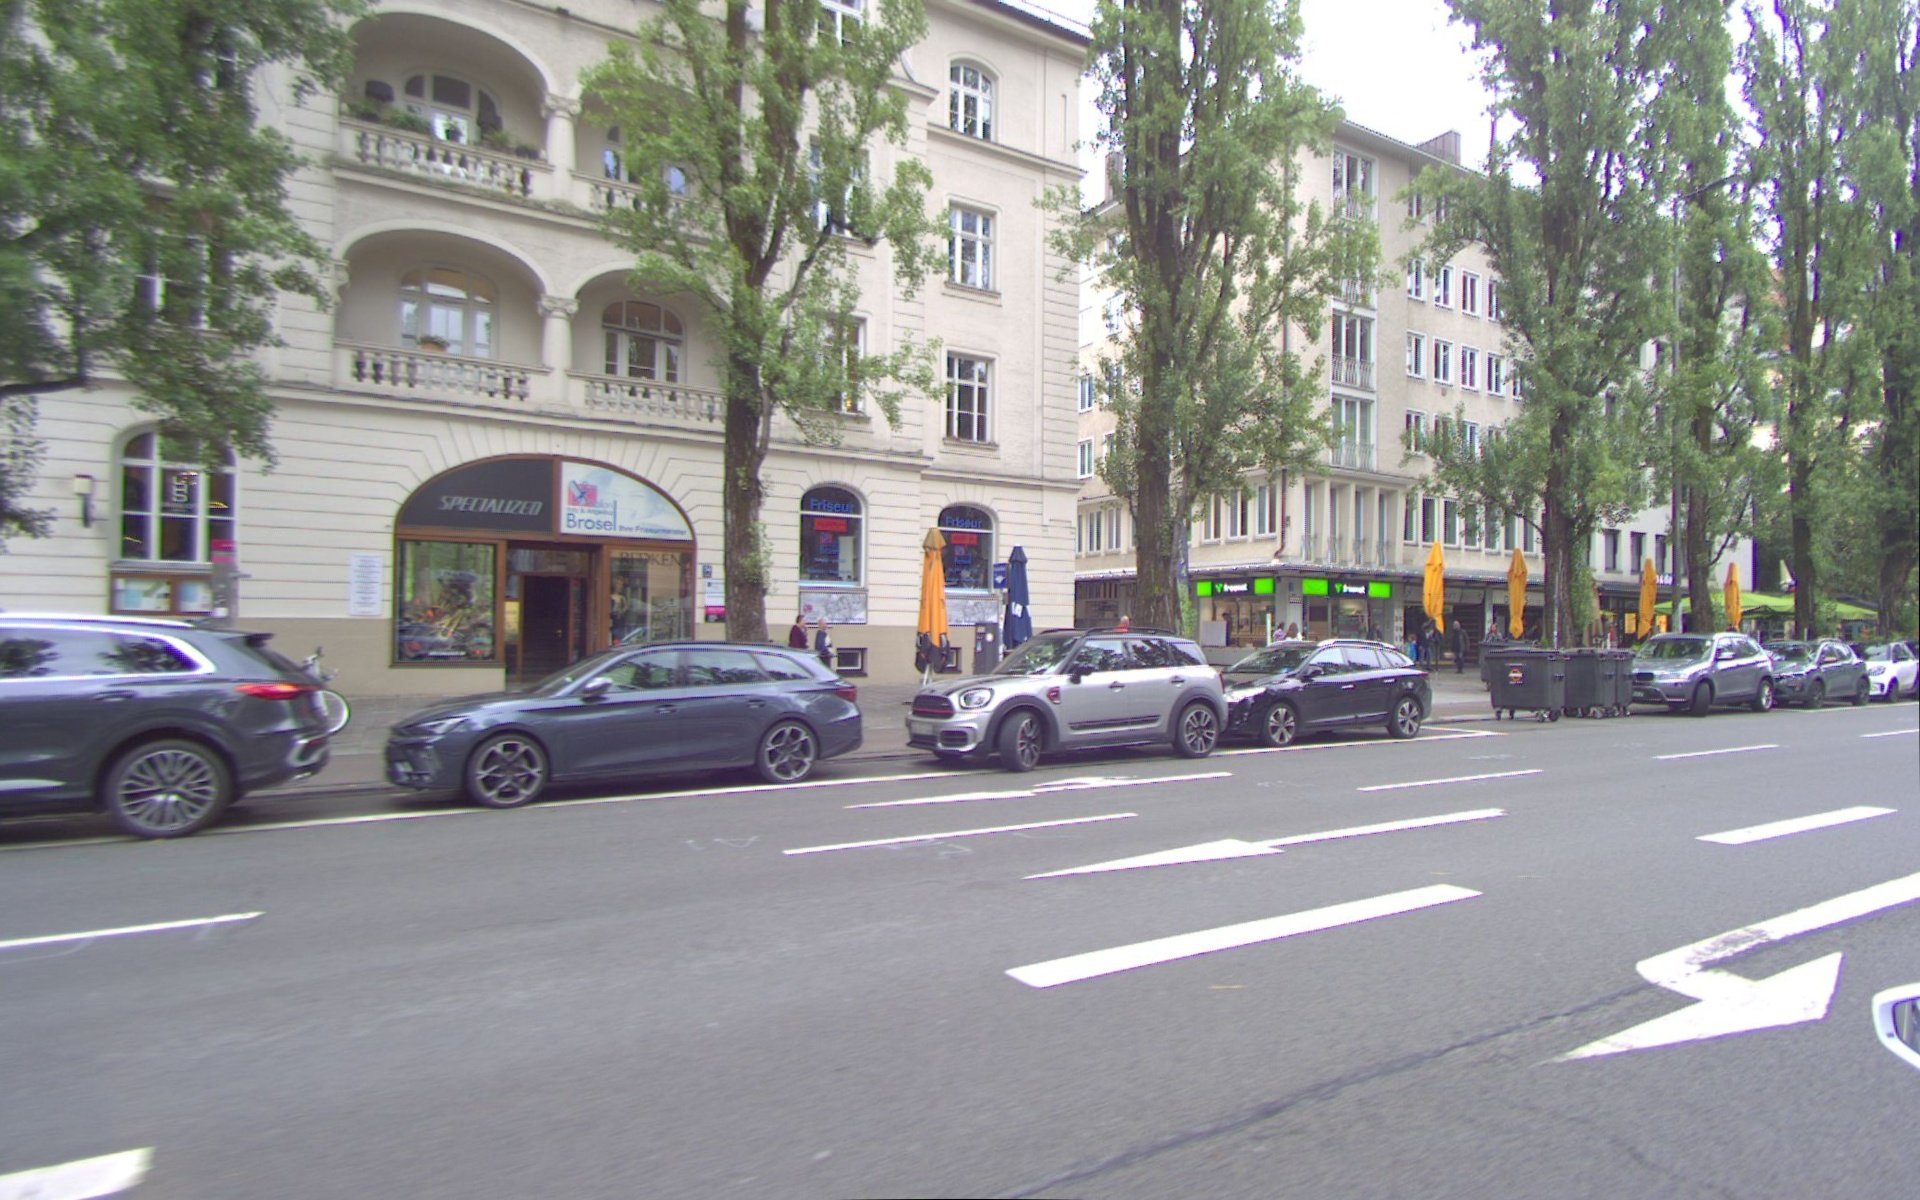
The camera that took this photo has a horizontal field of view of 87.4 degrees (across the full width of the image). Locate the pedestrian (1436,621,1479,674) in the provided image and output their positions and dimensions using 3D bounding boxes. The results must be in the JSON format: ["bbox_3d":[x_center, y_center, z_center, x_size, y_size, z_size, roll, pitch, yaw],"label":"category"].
[{"bbox_3d":[16.950,1.612,34.230,1.134,1.767,0.848,1,-1,-30],"label":"pedestrian"}]

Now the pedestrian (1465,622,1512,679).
[{"bbox_3d":[16.675,1.585,31.715,1.134,1.767,0.848,1,-1,-30],"label":"pedestrian"}]

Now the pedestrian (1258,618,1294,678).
[{"bbox_3d":[9.275,1.405,29.510,0.817,1.744,0.622,1,-2,-31],"label":"pedestrian"}]

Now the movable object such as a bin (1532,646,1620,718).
[{"bbox_3d":[12.191,1.596,19.901,0.816,1.334,1.253,1,-2,-31],"label":"movable object such as a bin"}]

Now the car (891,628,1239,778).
[{"bbox_3d":[1.346,1.175,12.532,4.084,1.596,1.774,1,-3,-31],"label":"car"}]

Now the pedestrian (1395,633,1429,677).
[{"bbox_3d":[14.094,1.719,31.292,0.817,1.342,0.622,1,-2,-31],"label":"pedestrian"}]

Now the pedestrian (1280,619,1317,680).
[{"bbox_3d":[9.764,1.419,28.981,0.817,1.744,0.622,1,-2,-31],"label":"pedestrian"}]

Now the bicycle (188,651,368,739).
[{"bbox_3d":[-9.084,1.265,13.425,1.957,1.127,0.539,1,-1,-5],"label":"bicycle"}]

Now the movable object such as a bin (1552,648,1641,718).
[{"bbox_3d":[12.893,1.650,20.375,0.810,1.334,1.307,1,-2,-31],"label":"movable object such as a bin"}]

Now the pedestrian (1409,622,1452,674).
[{"bbox_3d":[16.423,1.649,35.057,1.134,1.768,0.848,1,-1,-30],"label":"pedestrian"}]

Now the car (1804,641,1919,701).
[{"bbox_3d":[23.567,1.800,26.117,2.950,1.447,1.623,1,-2,-31],"label":"car"}]

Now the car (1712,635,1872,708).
[{"bbox_3d":[19.544,1.628,23.576,4.036,1.571,1.689,2,-2,-32],"label":"car"}]

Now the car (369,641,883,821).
[{"bbox_3d":[-3.203,1.156,10.098,4.639,1.442,1.675,2,-4,-34],"label":"car"}]

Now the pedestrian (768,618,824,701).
[{"bbox_3d":[-3.168,1.135,19.465,0.674,1.558,0.786,1,0,40],"label":"pedestrian"}]

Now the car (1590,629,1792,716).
[{"bbox_3d":[15.623,1.513,21.409,4.563,1.676,1.856,2,-4,-32],"label":"car"}]

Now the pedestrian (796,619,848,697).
[{"bbox_3d":[-2.850,1.181,20.712,0.795,1.558,0.765,2,0,-30],"label":"pedestrian"}]

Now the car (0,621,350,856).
[{"bbox_3d":[-7.303,0.973,7.526,4.576,1.615,1.795,1,-2,-30],"label":"car"}]

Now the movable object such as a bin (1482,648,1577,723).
[{"bbox_3d":[10.629,1.568,18.778,0.891,1.327,1.271,1,-2,-30],"label":"movable object such as a bin"}]

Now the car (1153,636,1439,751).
[{"bbox_3d":[5.105,1.337,15.135,4.261,1.524,1.657,1,-4,-29],"label":"car"}]

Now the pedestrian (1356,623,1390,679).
[{"bbox_3d":[12.997,1.589,31.593,0.817,1.744,0.622,1,-2,-31],"label":"pedestrian"}]

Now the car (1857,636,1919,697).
[{"bbox_3d":[26.896,1.823,28.133,4.139,1.586,1.828,2,-2,-36],"label":"car"}]

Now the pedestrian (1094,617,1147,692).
[{"bbox_3d":[3.763,1.273,23.579,0.941,1.695,0.731,2,0,-30],"label":"pedestrian"}]
